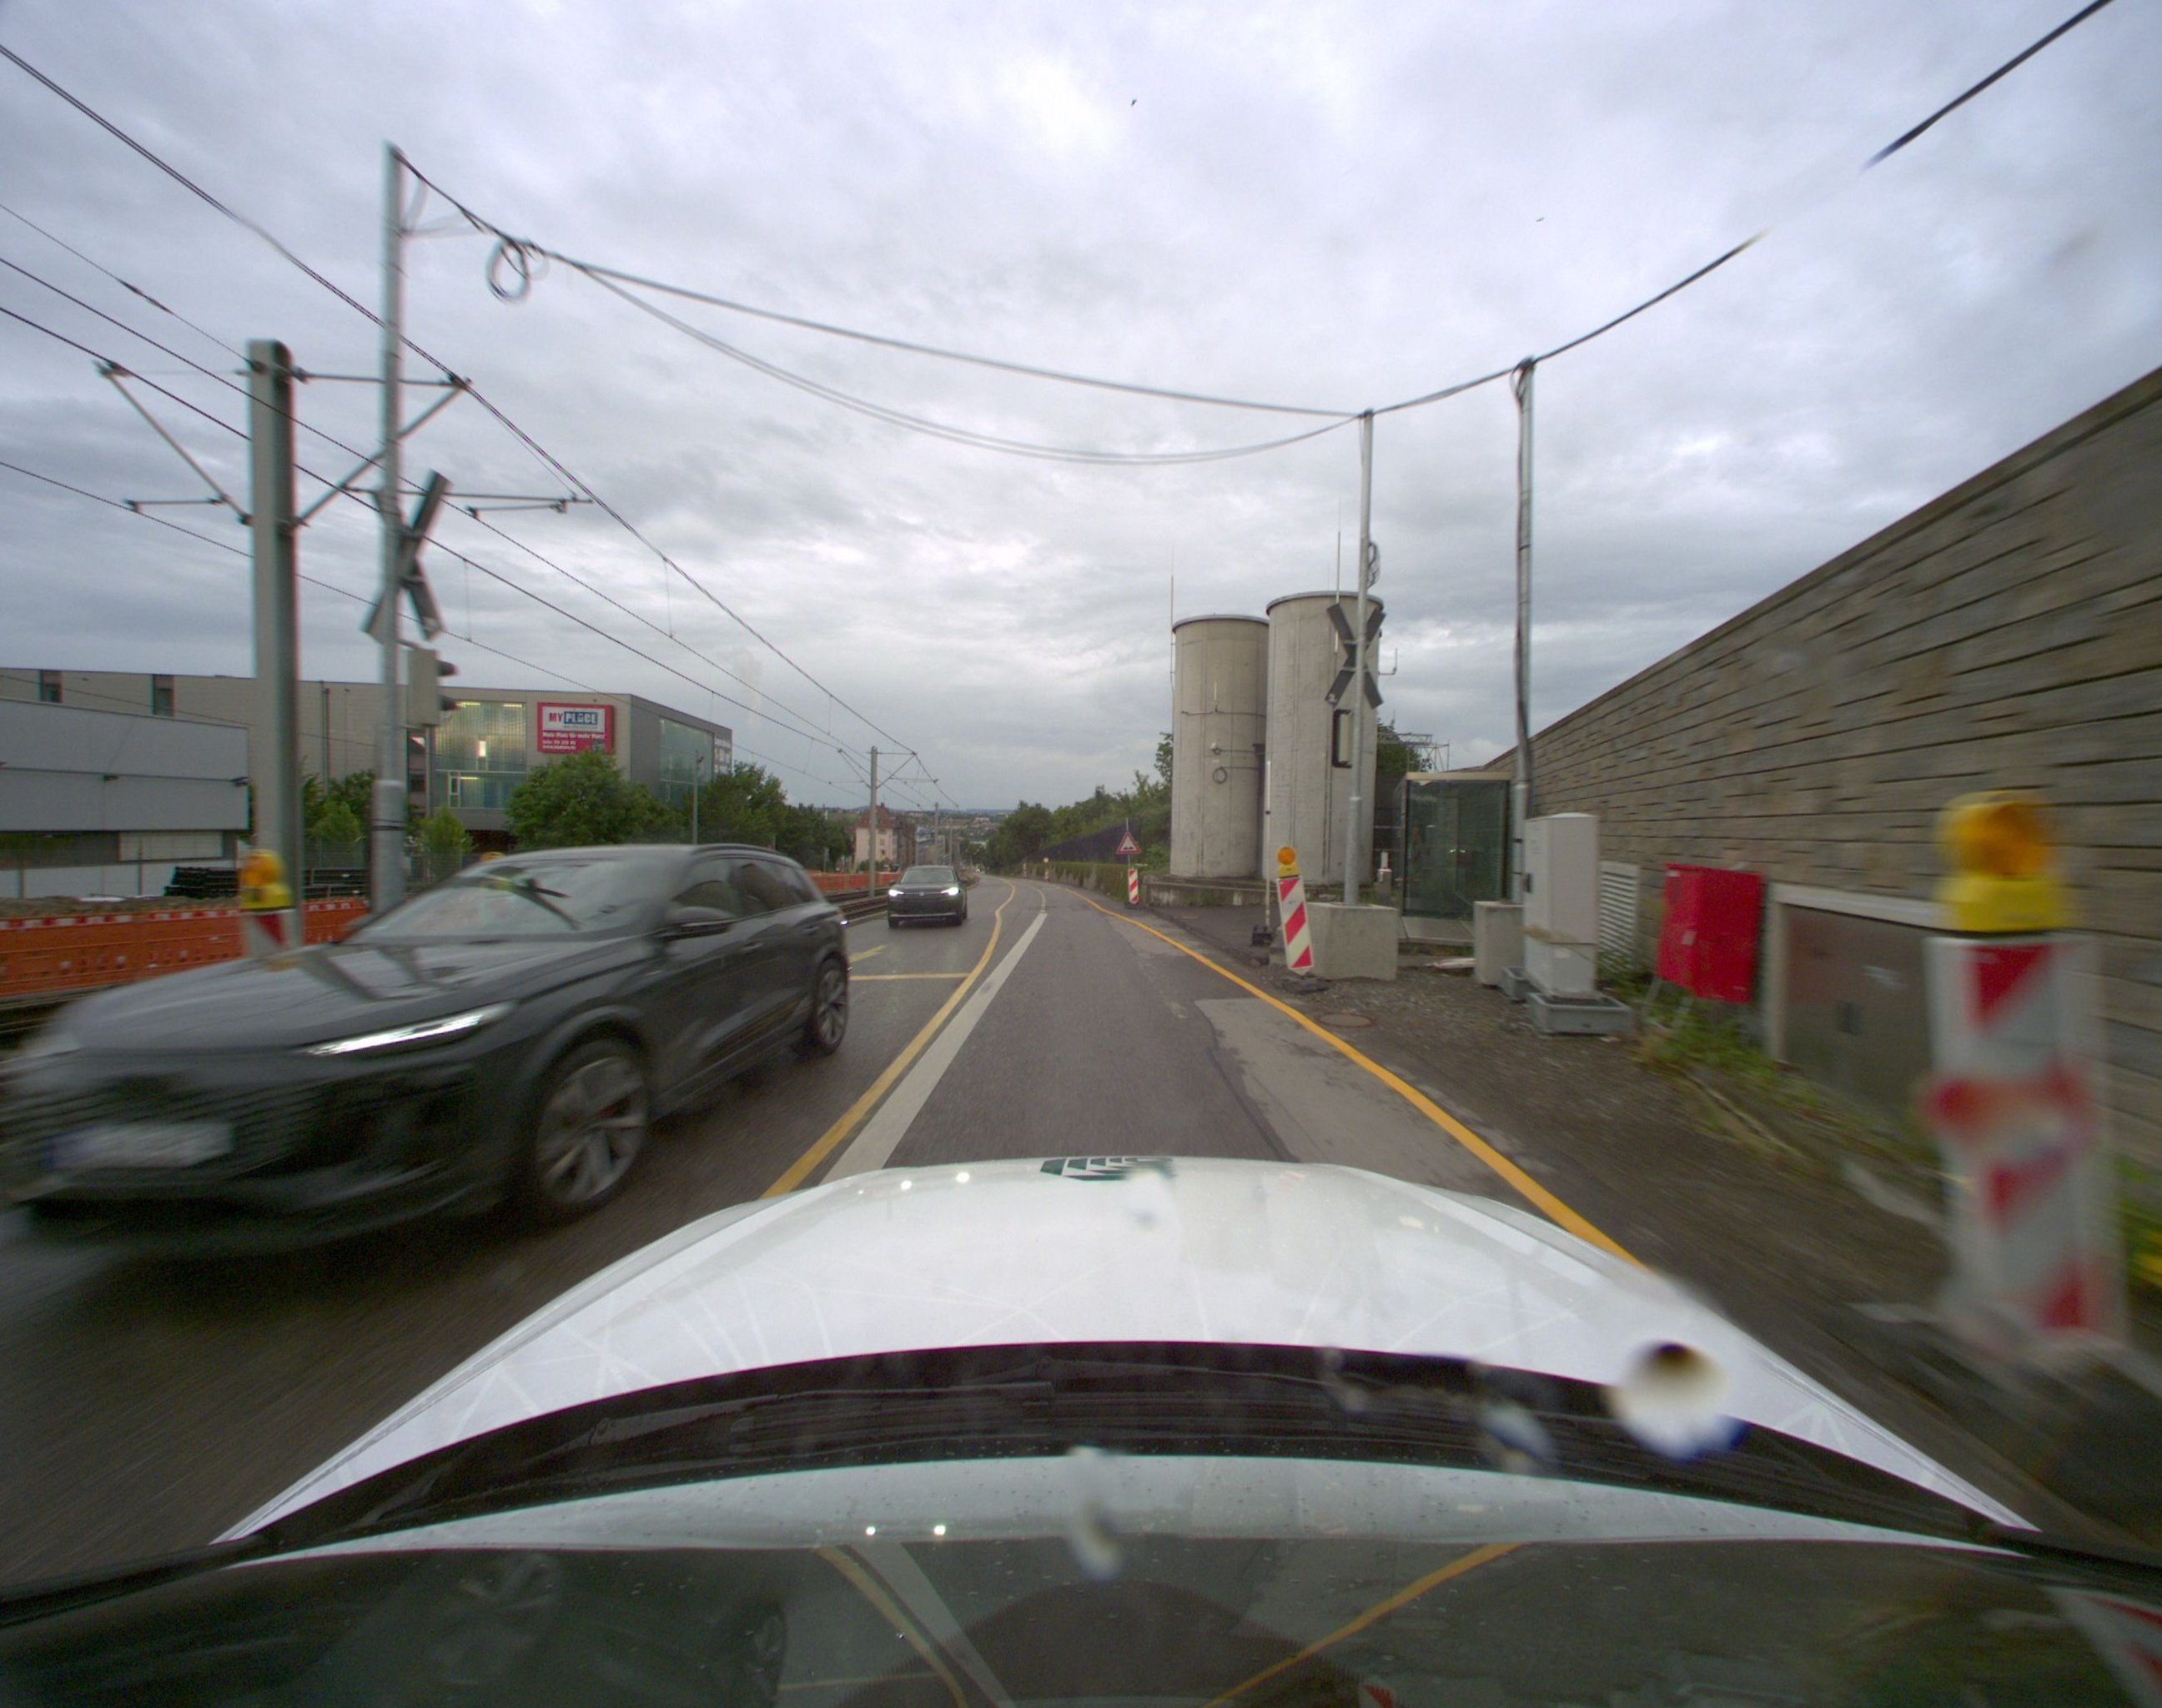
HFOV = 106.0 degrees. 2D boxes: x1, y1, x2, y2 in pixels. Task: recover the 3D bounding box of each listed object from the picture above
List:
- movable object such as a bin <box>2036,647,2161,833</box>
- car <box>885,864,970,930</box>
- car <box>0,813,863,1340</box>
[{"bbox_3d":[40.508,-3.795,27.430,11.160,5.995,3.501,0,0,10],"label":"movable object such as a bin"},{"bbox_3d":[-3.885,1.029,21.174,1.786,1.464,3.943,-2,0,-6],"label":"car"},{"bbox_3d":[-2.987,0.716,4.865,1.986,1.678,4.491,0,0,2],"label":"car"}]
